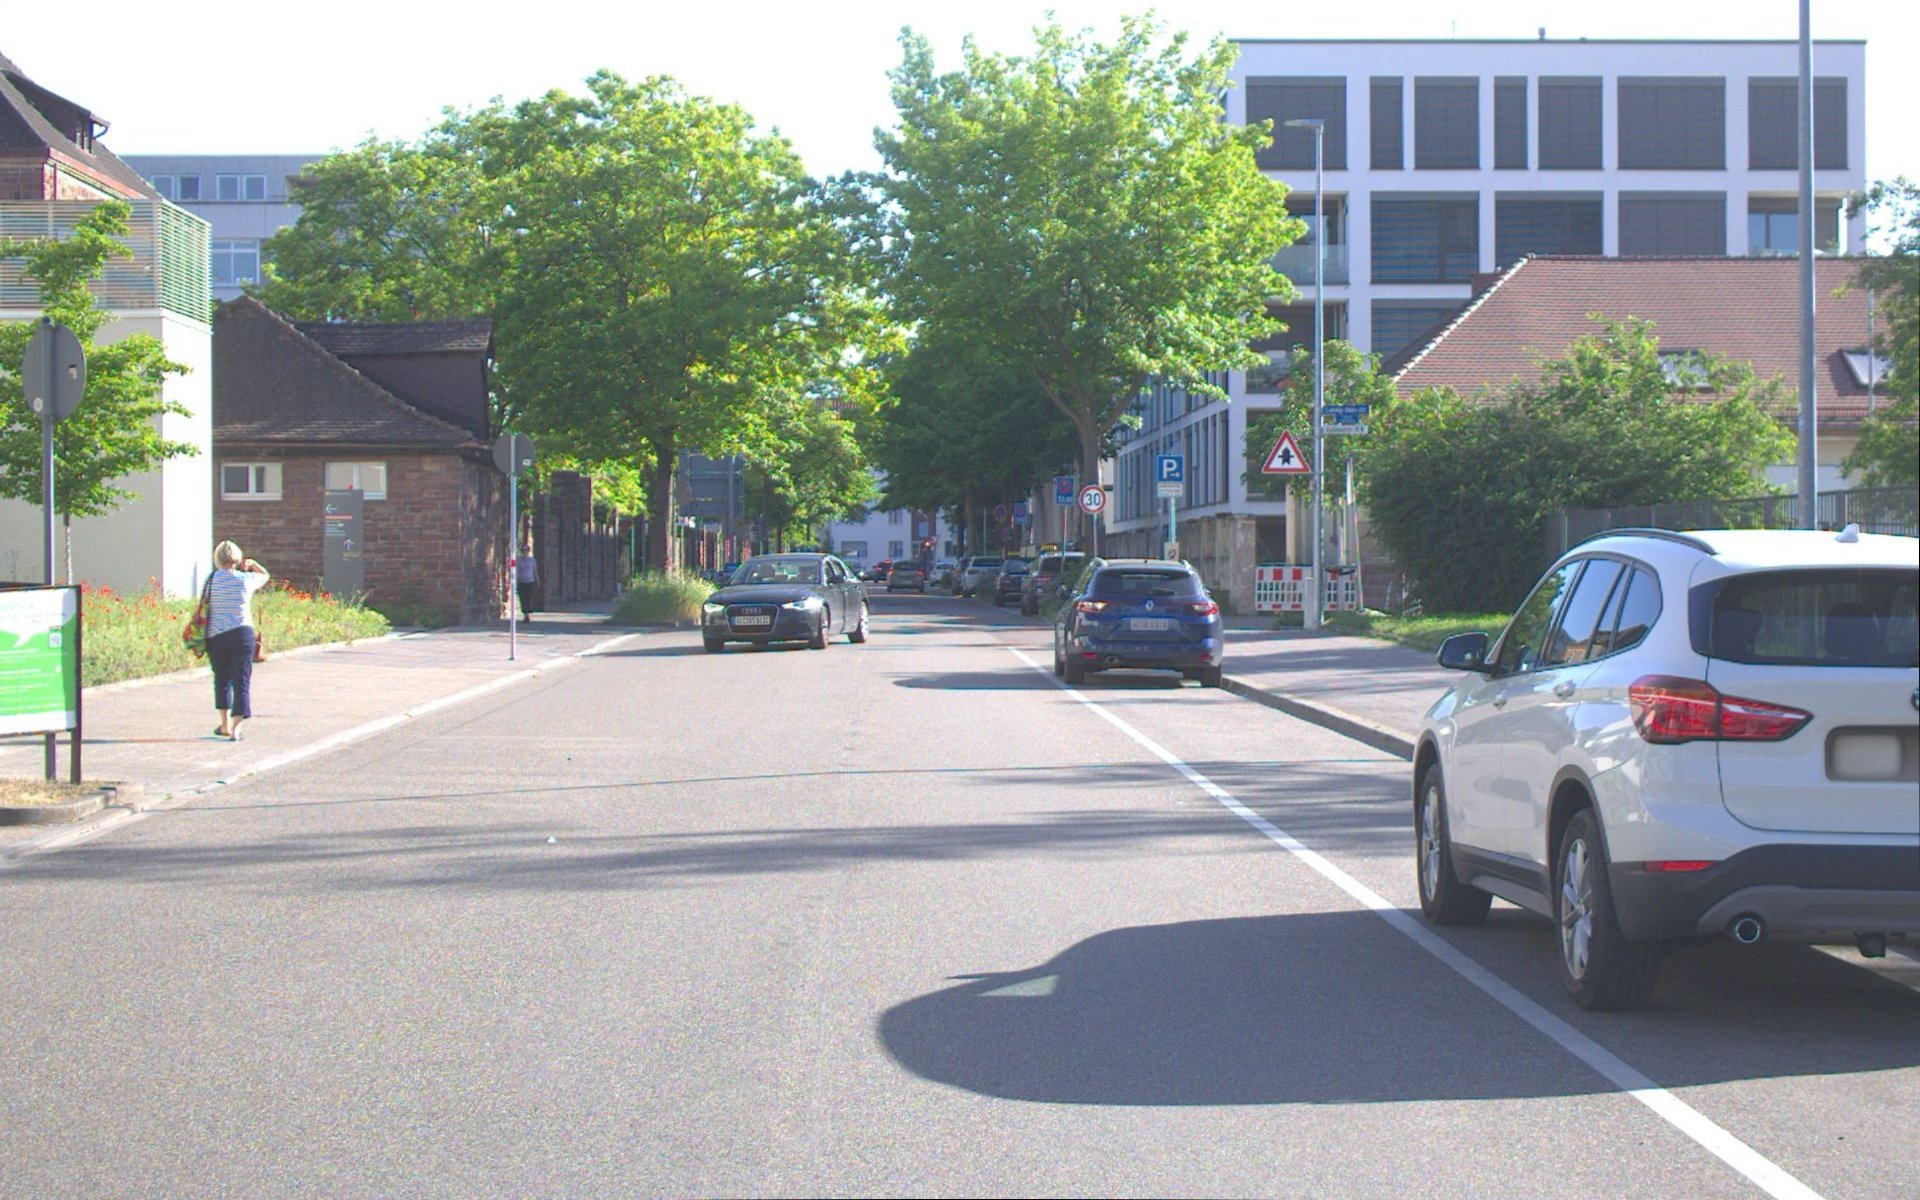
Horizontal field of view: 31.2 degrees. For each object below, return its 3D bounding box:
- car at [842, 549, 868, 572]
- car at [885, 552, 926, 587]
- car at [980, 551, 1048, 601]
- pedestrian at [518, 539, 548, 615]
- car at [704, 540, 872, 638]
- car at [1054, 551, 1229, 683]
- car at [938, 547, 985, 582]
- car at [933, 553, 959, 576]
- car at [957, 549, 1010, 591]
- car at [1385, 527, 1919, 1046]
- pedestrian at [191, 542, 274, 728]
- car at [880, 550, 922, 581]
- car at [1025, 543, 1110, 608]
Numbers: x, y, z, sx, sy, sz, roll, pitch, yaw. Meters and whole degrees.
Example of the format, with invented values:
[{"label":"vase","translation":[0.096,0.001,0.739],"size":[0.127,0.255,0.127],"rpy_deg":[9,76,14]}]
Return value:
[{"label":"car","translation":[-6.958,-2.621,228.254],"size":[1.653,1.525,4.000],"rpy_deg":[0,1,-1]},{"label":"car","translation":[-2.503,-1.413,158.434],"size":[1.767,1.543,4.066],"rpy_deg":[0,1,-3]},{"label":"car","translation":[1.586,-0.721,101.496],"size":[1.767,1.435,4.000],"rpy_deg":[0,1,-3]},{"label":"pedestrian","translation":[-8.793,-0.479,70.831],"size":[0.521,1.557,1.096],"rpy_deg":[0,1,-2]},{"label":"car","translation":[-2.619,-0.203,53.417],"size":[1.762,1.437,4.536],"rpy_deg":[0,1,8]},{"label":"car","translation":[2.095,0.159,40.612],"size":[1.817,1.448,4.214],"rpy_deg":[0,1,0]},{"label":"car","translation":[0.054,-1.535,146.554],"size":[1.993,1.460,3.836],"rpy_deg":[0,1,0]},{"label":"car","translation":[-0.874,-2.213,211.604],"size":[1.585,1.395,3.836],"rpy_deg":[0,1,0]},{"label":"car","translation":[0.888,-1.157,130.404],"size":[1.950,1.573,3.836],"rpy_deg":[0,1,0]},{"label":"car","translation":[2.871,0.546,12.731],"size":[1.812,1.583,4.263],"rpy_deg":[1,1,-3]},{"label":"pedestrian","translation":[-6.014,0.282,28.444],"size":[0.538,1.518,0.607],"rpy_deg":[0,1,0]},{"label":"car","translation":[-2.701,-1.615,158.274],"size":[1.889,1.395,3.837],"rpy_deg":[0,1,0]},{"label":"car","translation":[2.480,-0.591,80.256],"size":[1.703,1.463,4.789],"rpy_deg":[0,1,-2]}]
